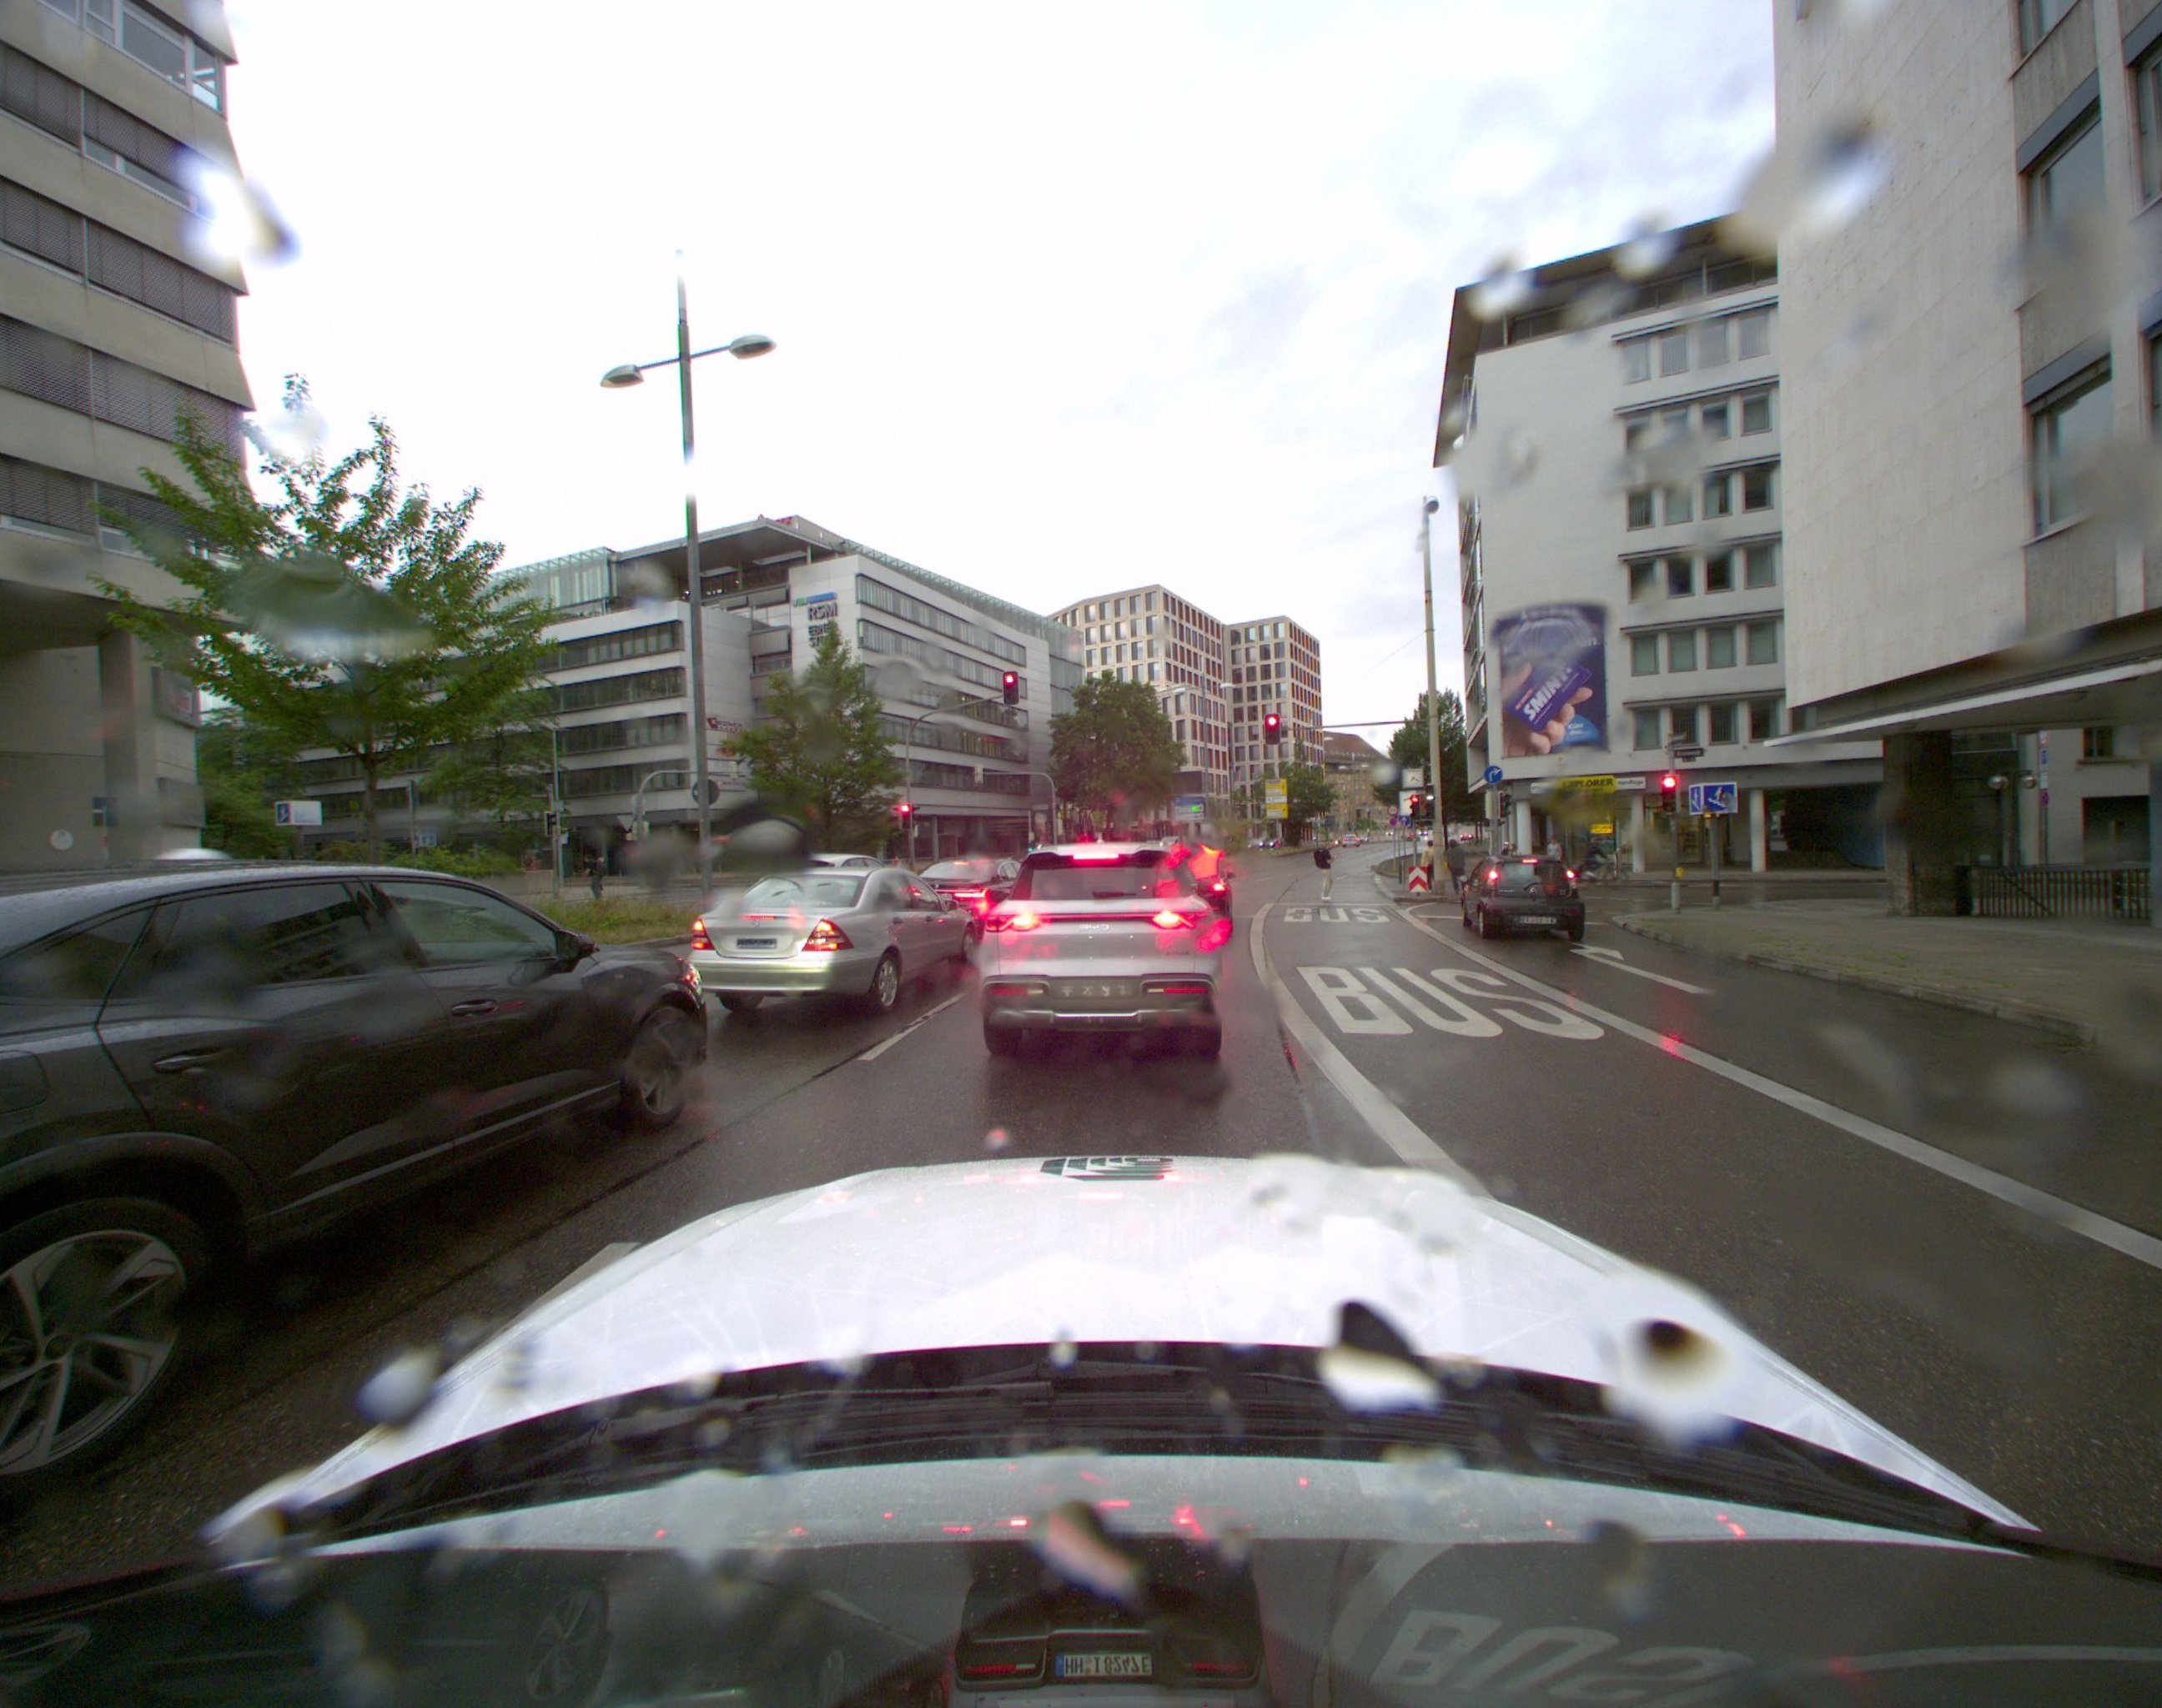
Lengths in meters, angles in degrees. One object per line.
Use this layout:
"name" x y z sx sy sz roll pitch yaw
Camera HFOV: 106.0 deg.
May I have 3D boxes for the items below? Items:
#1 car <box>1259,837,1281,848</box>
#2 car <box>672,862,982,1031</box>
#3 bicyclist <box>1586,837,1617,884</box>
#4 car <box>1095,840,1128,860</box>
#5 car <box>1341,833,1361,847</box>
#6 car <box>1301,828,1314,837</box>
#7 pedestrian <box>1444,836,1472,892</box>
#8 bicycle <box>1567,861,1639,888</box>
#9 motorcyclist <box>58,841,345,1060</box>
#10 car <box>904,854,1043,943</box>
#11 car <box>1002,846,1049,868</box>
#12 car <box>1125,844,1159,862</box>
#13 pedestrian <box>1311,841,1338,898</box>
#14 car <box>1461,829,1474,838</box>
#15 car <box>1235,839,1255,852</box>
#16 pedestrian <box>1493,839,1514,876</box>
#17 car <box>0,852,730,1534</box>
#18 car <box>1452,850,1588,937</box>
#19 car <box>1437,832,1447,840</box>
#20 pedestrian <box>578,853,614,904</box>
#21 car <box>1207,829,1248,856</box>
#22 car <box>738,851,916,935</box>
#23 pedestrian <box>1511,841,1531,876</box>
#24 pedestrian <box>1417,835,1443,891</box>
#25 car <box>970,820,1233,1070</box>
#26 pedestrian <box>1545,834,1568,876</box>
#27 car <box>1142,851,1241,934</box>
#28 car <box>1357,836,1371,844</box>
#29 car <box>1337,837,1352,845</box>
"car" 27.597 -1.677 118.776 1.974 1.488 4.025 -1 1 29
"car" -2.453 0.809 9.027 1.561 1.407 4.120 -1 -1 10
"bicyclist" 17.497 0.208 27.374 0.761 1.569 0.535 -1 0 20
"car" 2.588 -0.341 68.568 1.630 1.536 4.172 -1 0 18
"car" 32.135 -1.643 96.815 1.871 1.643 4.023 -1 0 24
"car" 45.324 -4.305 162.798 1.590 1.741 3.467 -1 -1 34
"pedestrian" 12.300 0.312 26.567 0.742 1.798 0.821 -1 1 22
"bicycle" 17.521 0.683 27.366 2.008 0.888 0.405 -1 0 19
"motorcyclist" -6.069 0.615 5.709 0.767 1.380 1.119 0 -1 2
"car" -1.918 0.771 15.731 1.561 1.486 4.010 -1 -1 9
"car" -4.165 0.188 61.929 1.976 1.610 4.022 -1 0 22
"car" 4.928 -0.033 65.451 1.675 1.385 3.888 -1 -1 21
"pedestrian" 7.572 0.475 25.330 0.764 1.731 0.599 -1 0 16
"car" 70.658 -3.746 148.913 1.677 1.486 4.025 -1 -1 32
"car" 20.148 -1.003 99.982 1.629 1.581 4.108 -1 0 23
"pedestrian" 19.000 0.142 36.640 0.657 1.655 0.662 -1 0 -45
"car" -3.200 0.766 3.189 1.642 1.521 4.274 -1 0 2
"car" 8.166 0.669 15.482 1.558 1.429 4.018 -1 -1 18
"car" 89.132 -4.468 201.209 1.975 2.013 4.025 -1 0 29
"pedestrian" -16.354 0.810 27.463 0.672 1.683 0.766 -1 0 15
"car" 11.746 -0.875 65.029 1.975 2.014 4.876 -1 -1 25
"car" -4.961 0.707 16.526 1.696 1.486 4.013 -1 -1 11
"pedestrian" 19.494 0.181 36.081 0.657 1.543 0.618 -1 0 -45
"pedestrian" 11.620 0.293 27.107 0.742 1.798 0.821 -1 1 22
"car" 0.271 0.635 7.518 1.768 1.679 4.004 -1 -1 4
"pedestrian" 20.586 0.035 35.271 0.778 1.794 0.662 -1 0 -45
"car" 2.376 0.711 16.710 1.682 1.486 4.013 -1 -1 12
"car" 57.477 -2.881 165.334 1.974 1.488 4.025 -1 1 29
"car" 51.968 -2.632 160.370 1.974 1.488 4.025 -1 1 29
